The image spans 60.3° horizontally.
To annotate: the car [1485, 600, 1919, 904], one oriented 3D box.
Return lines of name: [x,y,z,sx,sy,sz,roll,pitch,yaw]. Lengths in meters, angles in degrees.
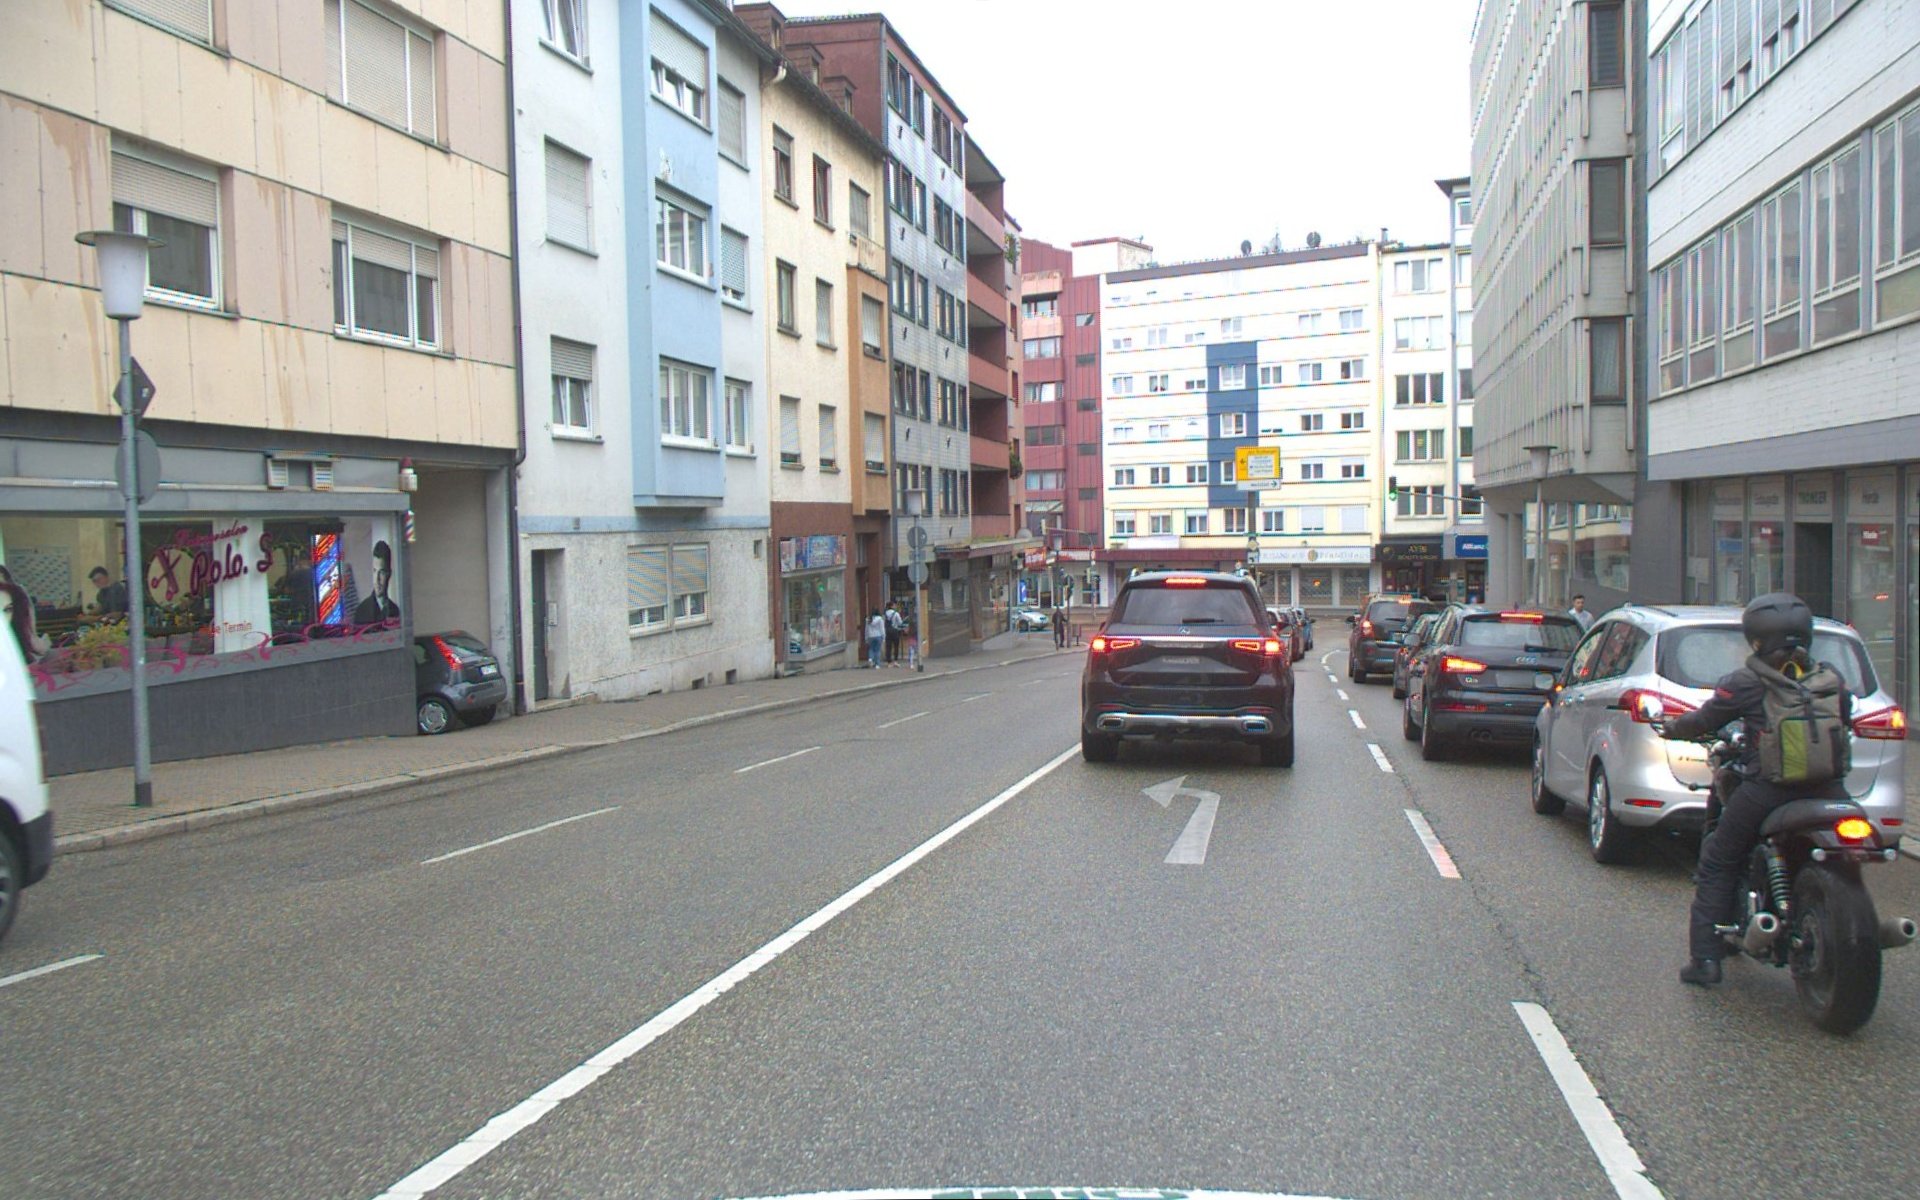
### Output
car: [4.875,0.829,11.208,1.787,1.568,4.256,3,0,8]

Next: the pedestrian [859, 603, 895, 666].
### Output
pedestrian: [-2.118,0.873,42.318,0.810,1.588,0.724,2,0,3]

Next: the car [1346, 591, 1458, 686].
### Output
car: [8.989,0.737,33.950,1.857,1.724,4.509,3,0,11]

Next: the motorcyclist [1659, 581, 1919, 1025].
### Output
motorcyclist: [3.406,0.754,6.626,0.827,1.617,0.963,2,0,7]

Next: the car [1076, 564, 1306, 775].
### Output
car: [2.452,0.599,16.902,1.995,1.830,4.667,1,0,10]

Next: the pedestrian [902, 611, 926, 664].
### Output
pedestrian: [-1.212,0.978,43.527,0.522,1.346,0.724,2,0,3]

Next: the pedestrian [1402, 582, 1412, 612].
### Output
pedestrian: [27.068,-0.193,100.114,0.552,1.717,0.756,-1,6,18]

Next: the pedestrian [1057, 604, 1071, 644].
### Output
pedestrian: [4.548,1.048,72.300,0.542,1.727,0.624,0,0,8]

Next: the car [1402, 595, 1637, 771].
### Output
car: [5.826,0.790,17.687,1.784,1.587,4.205,2,0,11]

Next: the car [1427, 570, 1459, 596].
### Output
car: [32.699,-1.146,111.886,1.760,1.699,4.000,-1,0,21]

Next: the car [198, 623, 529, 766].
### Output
car: [-8.316,1.298,23.253,3.906,1.373,1.680,-8,1,5]

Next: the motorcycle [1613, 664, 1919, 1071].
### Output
motorcycle: [3.409,0.946,6.673,0.827,1.247,2.375,2,0,7]

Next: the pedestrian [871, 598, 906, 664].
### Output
pedestrian: [-1.888,0.808,43.567,0.810,1.719,0.724,2,0,3]

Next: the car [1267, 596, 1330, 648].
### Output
car: [11.030,0.744,53.841,1.884,1.542,4.666,2,-1,12]

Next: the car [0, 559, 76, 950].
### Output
car: [-5.710,0.748,6.319,1.822,1.835,4.269,-2,0,10]

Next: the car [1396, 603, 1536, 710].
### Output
car: [8.052,0.840,26.611,1.652,1.503,4.003,3,0,10]

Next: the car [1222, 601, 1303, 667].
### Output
car: [7.455,0.789,40.799,1.833,1.521,4.404,1,0,10]

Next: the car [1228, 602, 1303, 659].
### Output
car: [8.665,0.833,46.638,1.951,1.512,4.240,-1,0,12]

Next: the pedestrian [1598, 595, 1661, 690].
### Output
pedestrian: [11.593,0.727,28.654,0.749,1.578,0.891,-3,-1,9]

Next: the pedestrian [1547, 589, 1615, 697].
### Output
pedestrian: [10.469,0.718,27.908,0.767,1.735,1.122,-3,-1,9]

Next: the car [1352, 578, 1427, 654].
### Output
car: [13.862,0.506,53.189,2.195,2.267,5.432,1,0,16]
